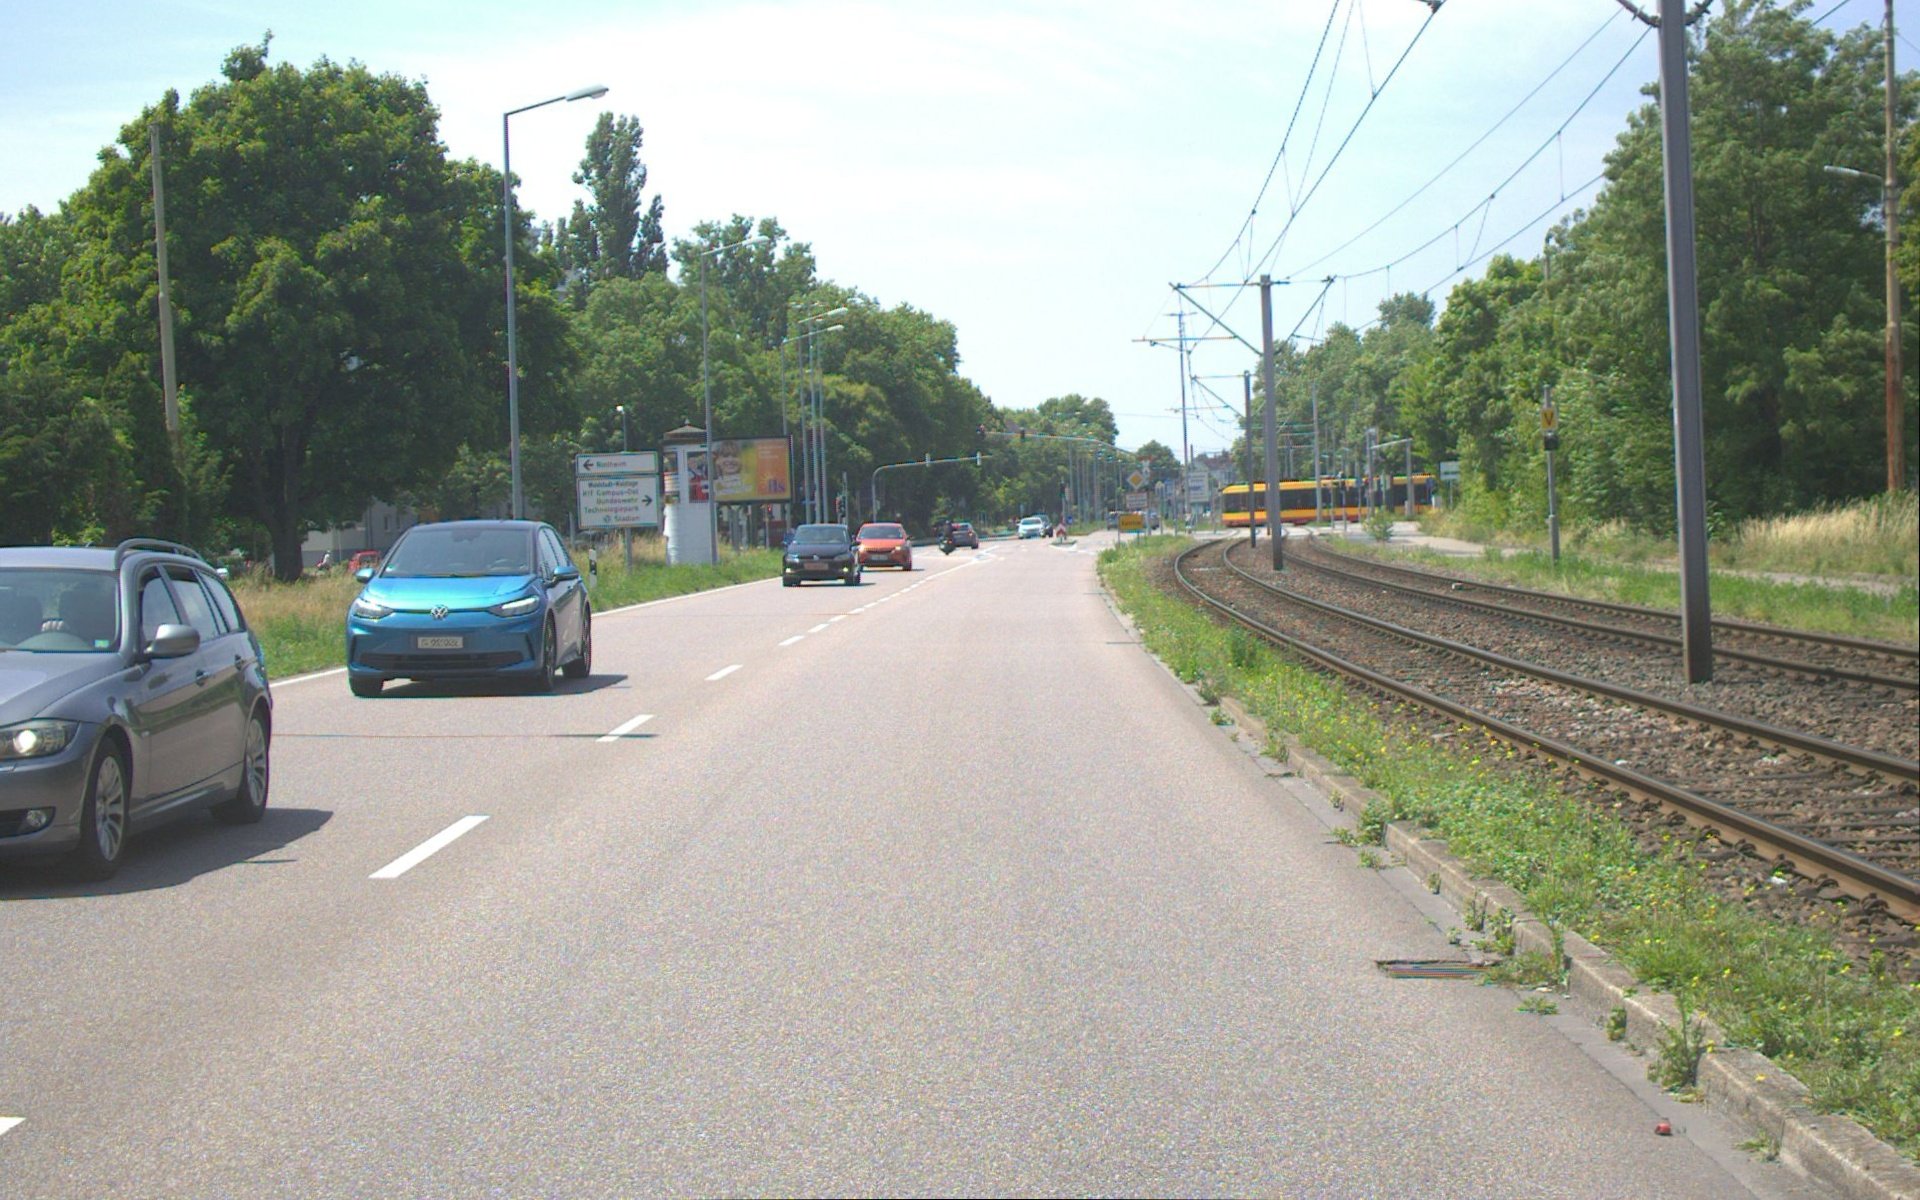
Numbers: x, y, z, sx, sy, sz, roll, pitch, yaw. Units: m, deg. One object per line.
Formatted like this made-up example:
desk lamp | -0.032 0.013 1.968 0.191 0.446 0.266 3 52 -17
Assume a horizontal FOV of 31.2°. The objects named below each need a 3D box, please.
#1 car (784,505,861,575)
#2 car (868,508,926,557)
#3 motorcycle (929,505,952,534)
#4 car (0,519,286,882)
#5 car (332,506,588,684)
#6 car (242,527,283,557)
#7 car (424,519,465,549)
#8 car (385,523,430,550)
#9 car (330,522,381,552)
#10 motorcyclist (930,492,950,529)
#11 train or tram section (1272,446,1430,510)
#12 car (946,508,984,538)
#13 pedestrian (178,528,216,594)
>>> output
car | -3.215 -1.425 81.125 1.684 1.564 3.968 -1 2 -1
car | -1.877 -2.033 102.839 1.679 1.394 4.001 -1 2 -1
motorcycle | -0.868 -3.603 153.712 0.847 1.251 2.449 -1 1 4
car | -4.382 0.361 15.817 1.757 1.418 4.324 -1 2 -1
car | -4.535 -0.098 31.683 1.815 1.500 4.001 -1 2 -1
car | -41.416 -3.452 204.179 1.845 1.705 4.001 -1 0 -19
car | -31.048 -3.972 206.948 1.704 1.794 4.001 -2 2 -19
car | -33.140 -3.811 206.172 1.704 1.586 4.001 -2 2 -23
car | -36.176 -3.757 205.626 1.846 1.662 4.000 -3 1 -27
motorcyclist | -0.890 -3.988 153.735 0.790 1.637 1.211 -1 1 4
train or tram section | 28.987 -9.025 255.853 2.915 3.906 13.961 0 -2 -36
car | 0.275 -4.079 181.967 1.906 1.493 4.630 -1 2 1
pedestrian | -15.933 -0.822 71.807 0.581 1.350 0.798 -1 1 1
